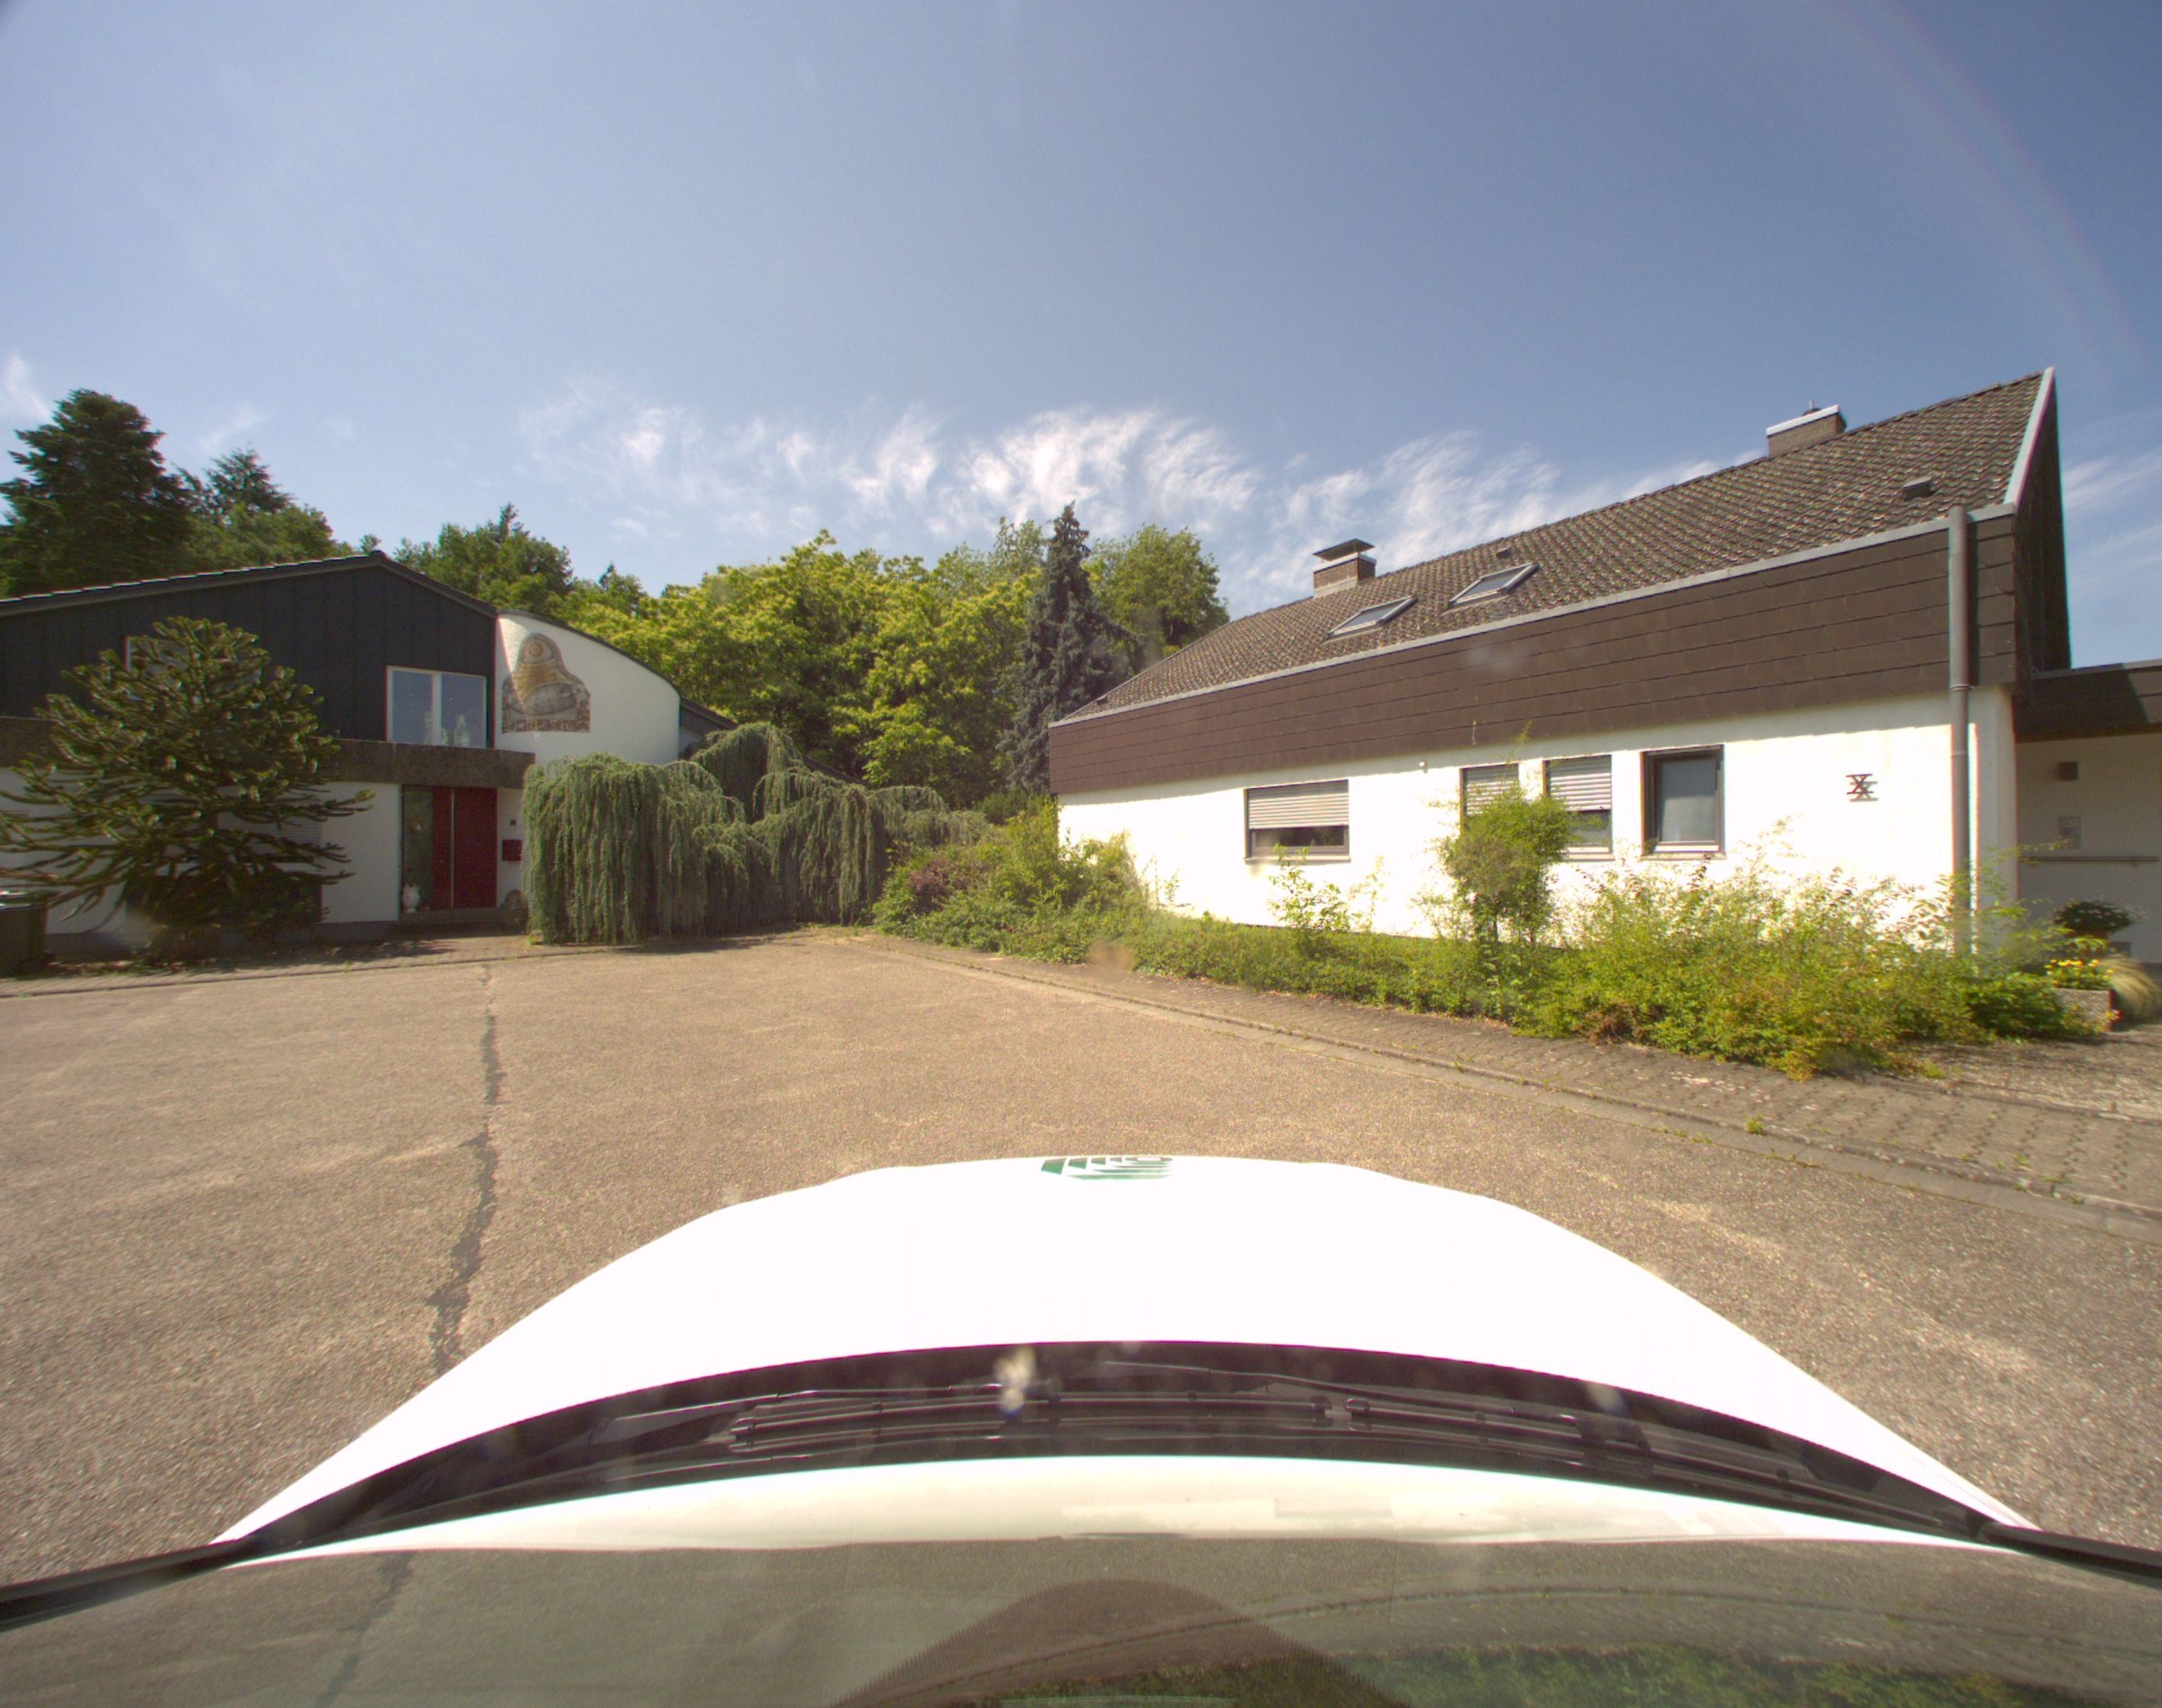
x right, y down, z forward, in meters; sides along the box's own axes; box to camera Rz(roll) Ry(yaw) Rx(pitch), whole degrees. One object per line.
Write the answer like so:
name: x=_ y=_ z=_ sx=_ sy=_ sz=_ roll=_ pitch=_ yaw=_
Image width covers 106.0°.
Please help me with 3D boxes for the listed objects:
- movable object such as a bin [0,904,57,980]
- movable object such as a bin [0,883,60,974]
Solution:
movable object such as a bin: x=-14.001 y=1.152 z=10.745 sx=0.384 sy=0.950 sz=0.527 roll=-1 pitch=-1 yaw=26
movable object such as a bin: x=-14.654 y=1.010 z=11.205 sx=0.637 sy=1.203 sz=0.545 roll=0 pitch=-1 yaw=-38
